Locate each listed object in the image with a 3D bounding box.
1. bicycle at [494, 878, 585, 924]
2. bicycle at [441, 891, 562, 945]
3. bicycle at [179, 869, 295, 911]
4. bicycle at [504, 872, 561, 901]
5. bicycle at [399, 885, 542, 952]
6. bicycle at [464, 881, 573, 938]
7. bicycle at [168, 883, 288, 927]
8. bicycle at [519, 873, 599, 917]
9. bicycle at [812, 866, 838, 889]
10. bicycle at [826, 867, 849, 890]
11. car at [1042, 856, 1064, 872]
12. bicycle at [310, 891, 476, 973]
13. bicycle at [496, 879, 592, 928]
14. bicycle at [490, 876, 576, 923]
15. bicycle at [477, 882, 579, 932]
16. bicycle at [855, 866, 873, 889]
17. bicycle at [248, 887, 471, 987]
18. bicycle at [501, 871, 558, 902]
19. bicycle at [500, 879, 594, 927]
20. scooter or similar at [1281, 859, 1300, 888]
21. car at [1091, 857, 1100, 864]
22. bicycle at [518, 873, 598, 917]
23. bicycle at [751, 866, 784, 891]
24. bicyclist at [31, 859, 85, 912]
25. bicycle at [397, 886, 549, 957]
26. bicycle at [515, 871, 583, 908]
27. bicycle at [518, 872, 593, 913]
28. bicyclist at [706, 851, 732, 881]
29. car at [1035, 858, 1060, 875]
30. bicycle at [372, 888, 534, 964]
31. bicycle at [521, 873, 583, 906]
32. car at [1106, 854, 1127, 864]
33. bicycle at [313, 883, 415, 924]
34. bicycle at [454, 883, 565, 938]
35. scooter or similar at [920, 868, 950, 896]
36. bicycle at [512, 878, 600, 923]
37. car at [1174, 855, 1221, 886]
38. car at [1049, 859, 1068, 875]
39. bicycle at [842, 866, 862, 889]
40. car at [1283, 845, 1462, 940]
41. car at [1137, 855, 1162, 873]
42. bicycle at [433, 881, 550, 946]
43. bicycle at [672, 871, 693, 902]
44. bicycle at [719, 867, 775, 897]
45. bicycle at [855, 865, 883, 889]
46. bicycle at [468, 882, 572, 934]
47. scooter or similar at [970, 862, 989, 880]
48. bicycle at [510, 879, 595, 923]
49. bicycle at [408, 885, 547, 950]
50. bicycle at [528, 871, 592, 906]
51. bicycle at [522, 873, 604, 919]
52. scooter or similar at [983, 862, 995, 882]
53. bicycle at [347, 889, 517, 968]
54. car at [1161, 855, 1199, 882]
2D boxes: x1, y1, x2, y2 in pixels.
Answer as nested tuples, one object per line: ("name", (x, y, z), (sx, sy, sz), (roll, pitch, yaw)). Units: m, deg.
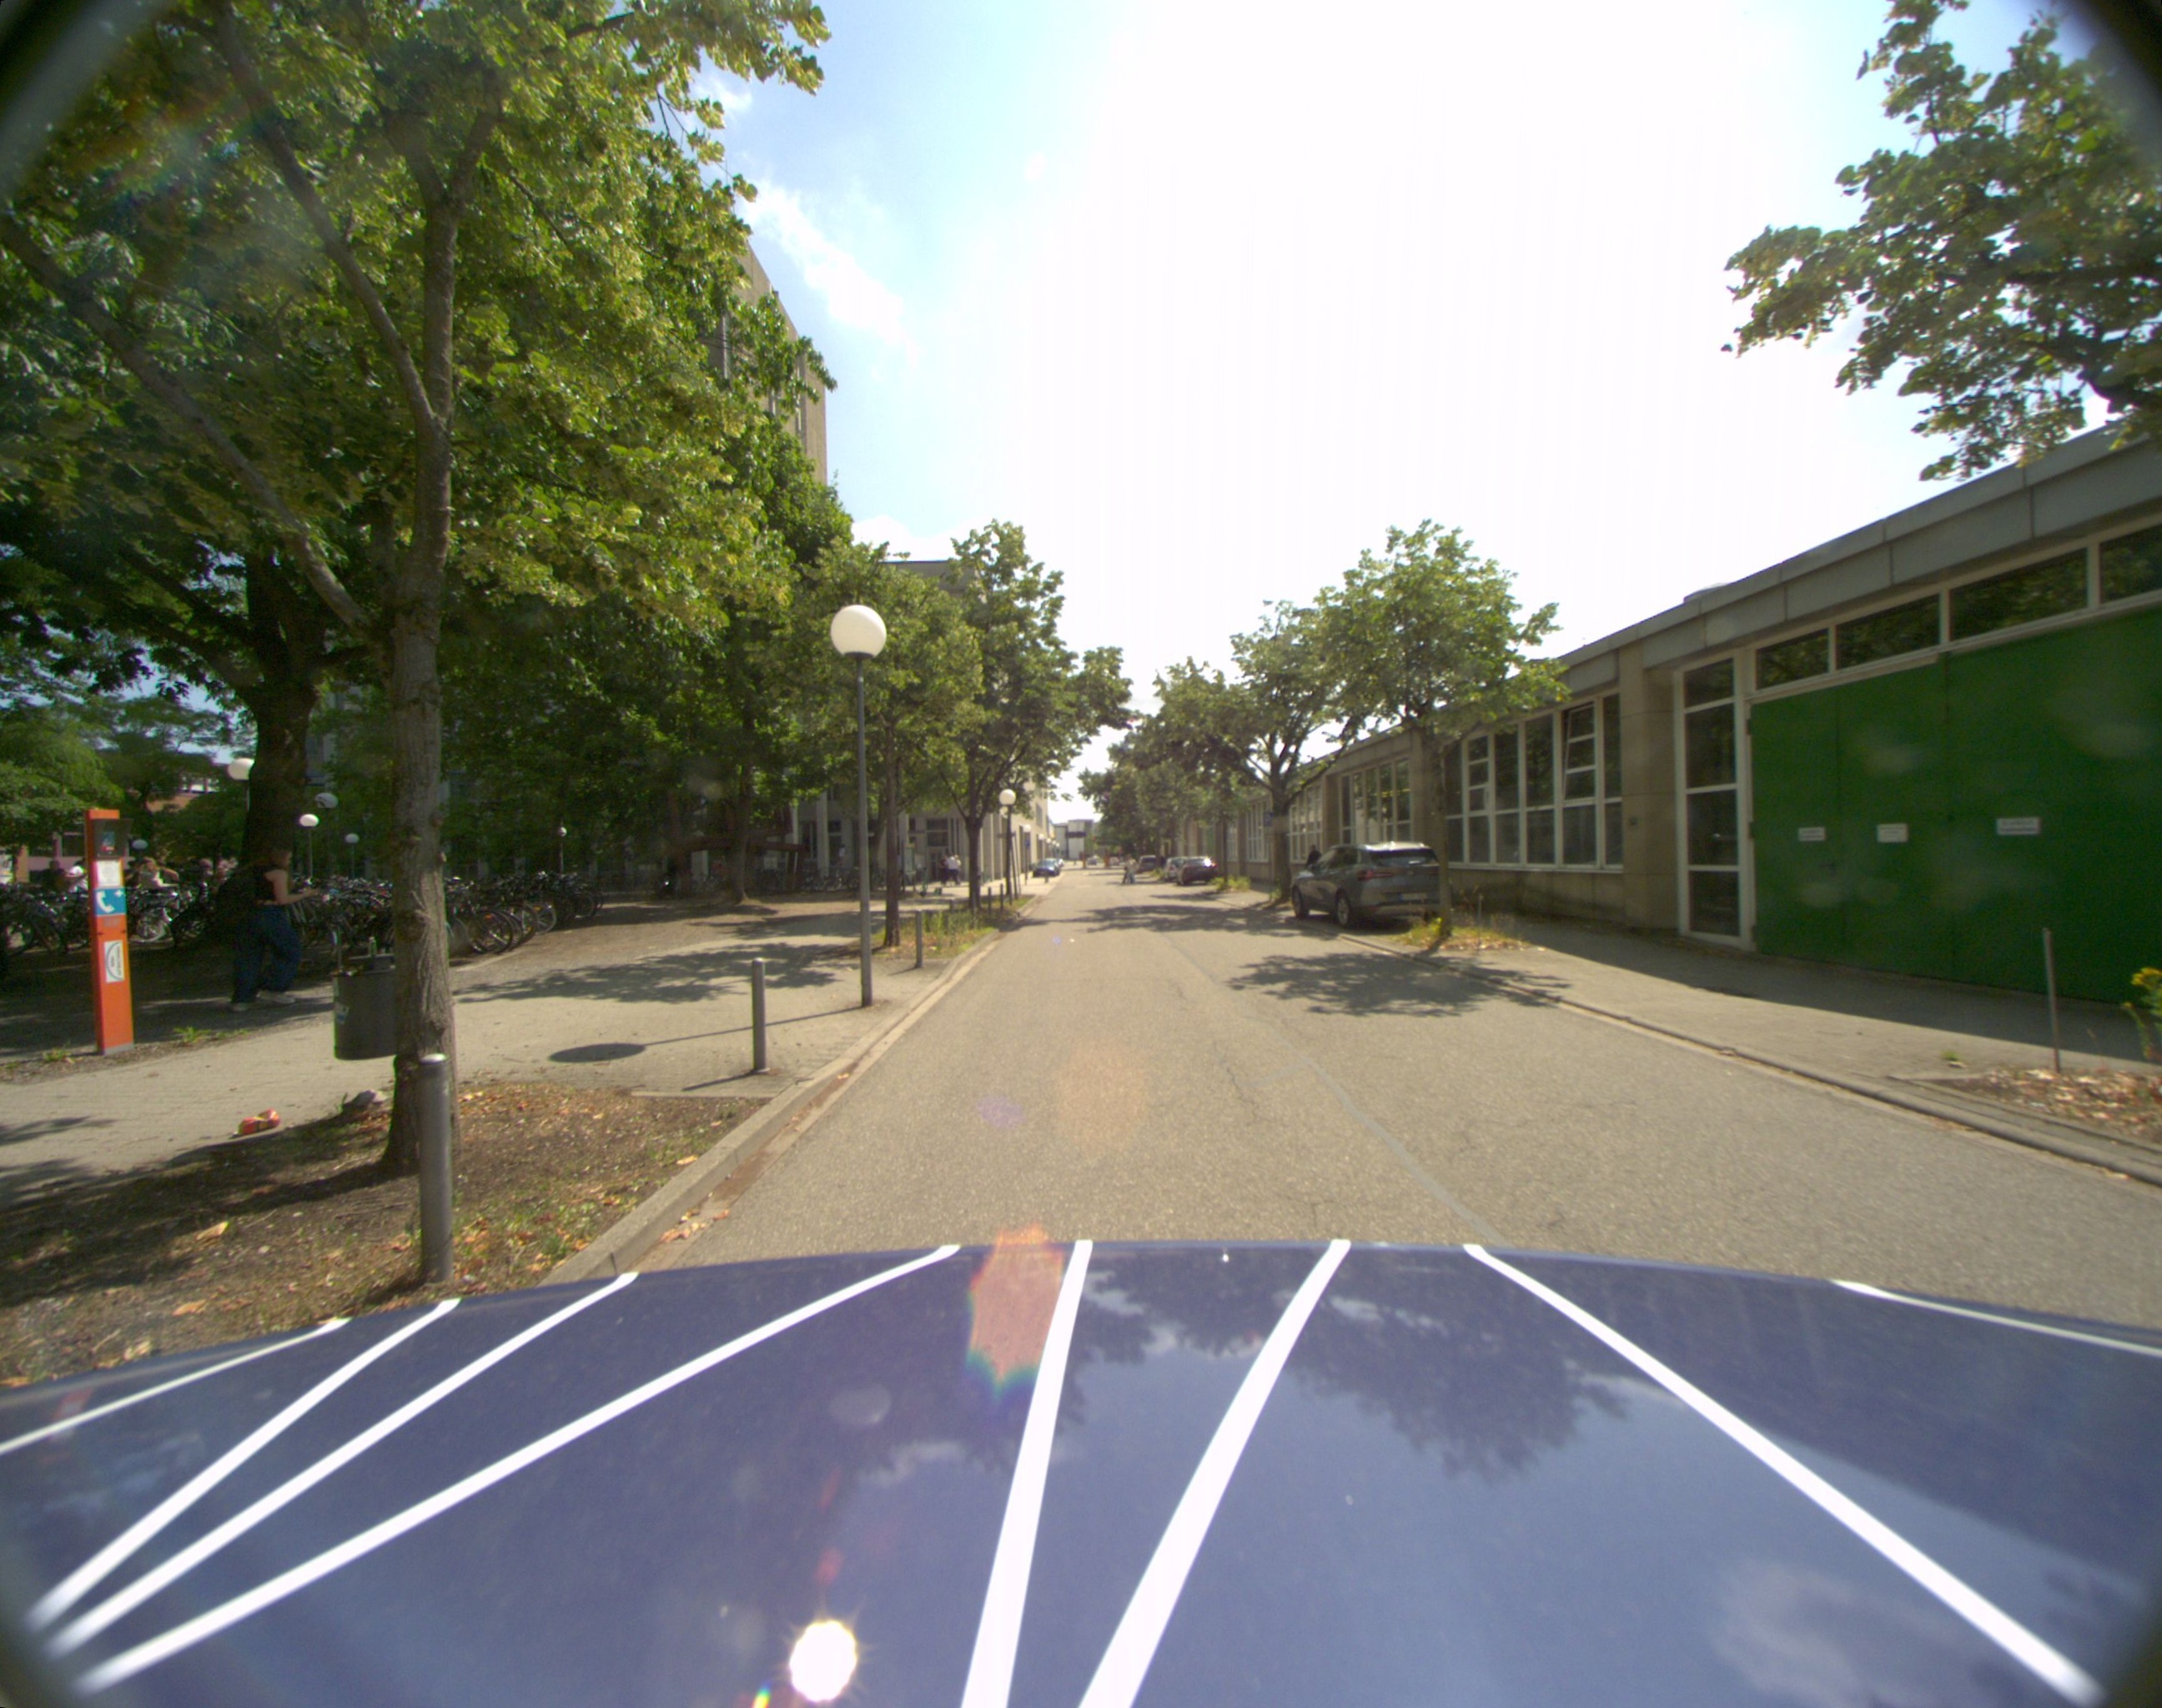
("bicycle", (-13.399, 1.153, 18.852), (1.796, 1.063, 0.425), (-1, 0, -28))
("bicycle", (-10.888, 1.180, 14.346), (1.741, 0.904, 0.493), (-1, 0, -29))
("bicycle", (-20.909, 0.872, 18.865), (1.907, 0.973, 0.378), (0, 1, -30))
("bicycle", (-22.558, 1.322, 31.255), (1.849, 1.163, 0.345), (-1, 0, -44))
("bicycle", (-10.598, 1.105, 13.250), (1.916, 1.053, 0.325), (-1, 0, -23))
("bicycle", (-11.408, 1.110, 15.468), (1.742, 1.046, 0.493), (-1, 0, -36))
("bicycle", (-20.702, 1.227, 18.486), (1.907, 0.973, 0.378), (0, 1, -30))
("bicycle", (-14.910, 1.149, 21.747), (1.848, 1.163, 0.344), (-1, 0, -34))
("bicycle", (-12.296, 1.119, 36.509), (0.481, 1.079, 1.697), (0, -1, 6))
("bicycle", (-11.802, 1.181, 36.791), (0.481, 1.079, 1.516), (0, -1, 6))
("car", (-2.498, 0.924, 68.421), (1.843, 1.389, 3.878), (0, -1, 1))
("bicycle", (-9.794, 1.094, 10.861), (1.773, 1.076, 0.438), (-1, 0, -11))
("bicycle", (-12.593, 1.154, 17.887), (1.796, 1.063, 0.425), (-1, 0, -30))
("bicycle", (-14.368, 1.178, 19.968), (1.796, 1.163, 0.401), (-1, 0, -34))
("bicycle", (-12.306, 1.170, 16.952), (1.796, 1.022, 0.381), (-1, 0, -31))
("bicycle", (-10.565, 1.132, 37.027), (0.460, 1.079, 1.440), (1, -1, -2))
("bicycle", (-9.186, 1.030, 9.751), (2.021, 1.160, 0.651), (-1, 0, -11))
("bicycle", (-22.414, 1.307, 30.909), (1.849, 1.163, 0.345), (-1, 0, -44))
("bicycle", (-12.802, 1.153, 18.273), (1.796, 1.063, 0.425), (-1, 0, -30))
("scooter or similar", (8.844, 0.814, 32.091), (0.383, 1.200, 1.246), (-3, 0, -1))
("car", (2.951, 1.367, 157.514), (1.803, 1.440, 3.676), (-4, 0, 0))
("bicycle", (-14.731, 1.126, 21.442), (1.848, 1.163, 0.344), (-1, 0, -34))
("bicycle", (-14.006, 1.105, 33.967), (0.463, 1.071, 1.829), (0, -1, 8))
("bicyclist", (-28.450, 0.853, 21.136), (0.746, 1.438, 0.801), (-1, 0, -43))
("bicycle", (-9.877, 1.081, 12.387), (1.950, 1.076, 0.404), (-1, 0, -11))
("bicycle", (-17.775, 1.187, 25.415), (1.849, 1.163, 0.352), (-1, 0, -36))
("bicycle", (-15.971, 1.146, 23.106), (1.849, 1.163, 0.344), (-1, 0, -37))
("bicyclist", (-19.561, 0.658, 41.087), (0.958, 1.533, 0.839), (1, -2, 3))
("car", (-2.751, 1.046, 62.719), (1.843, 1.389, 3.878), (0, -1, 1))
("bicycle", (-9.646, 1.091, 11.714), (1.950, 1.076, 0.404), (-1, 0, -11))
("bicycle", (-19.825, 1.325, 28.502), (1.849, 1.163, 0.412), (-1, 0, -39))
("car", (6.385, 0.867, 137.269), (3.674, 1.440, 1.804), (-4, 0, -1))
("bicycle", (-18.805, 1.284, 19.963), (1.907, 0.973, 0.378), (0, 1, -30))
("bicycle", (-11.813, 1.150, 15.772), (1.800, 1.022, 0.439), (-1, 0, -32))
("scooter or similar", (-5.894, 1.123, 30.676), (0.496, 1.107, 1.365), (-1, -1, 25))
("bicycle", (-13.342, 1.162, 19.349), (1.796, 1.063, 0.425), (-1, 0, -28))
("car", (5.998, 0.833, 39.531), (1.729, 1.427, 4.290), (-3, -1, 0))
("car", (-2.439, 1.428, 83.291), (1.799, 1.691, 4.001), (2, -1, 1))
("bicycle", (-11.056, 1.130, 36.664), (0.460, 1.079, 1.474), (0, -1, 2))
("car", (5.848, 0.686, 15.924), (1.826, 1.623, 4.516), (-3, 0, -2))
("car", (6.054, 0.844, 67.291), (1.803, 1.440, 3.676), (-4, 0, 0))
("bicycle", (-11.328, 1.119, 14.671), (1.742, 1.148, 0.493), (-1, 0, -36))
("bicycle", (-15.505, 1.244, 29.562), (0.476, 1.103, 1.665), (-2, 2, -36))
("bicycle", (-13.310, 1.117, 30.325), (1.928, 1.103, 0.631), (-2, 2, -36))
("bicycle", (-10.129, 1.110, 36.402), (0.491, 1.134, 1.529), (0, -1, 20))
("bicycle", (-12.205, 1.161, 16.595), (1.796, 1.022, 0.381), (-1, 0, -32))
("scooter or similar", (-7.281, 1.186, 54.408), (0.566, 1.205, 1.506), (-3, 3, -40))
("bicycle", (-13.764, 1.200, 19.820), (1.796, 1.063, 0.425), (-1, 0, -35))
("bicycle", (-10.706, 1.106, 13.540), (1.916, 1.053, 0.325), (-1, 0, -23))
("bicycle", (-18.504, 1.200, 27.012), (1.849, 1.163, 0.387), (-1, 0, -39))
("bicycle", (-14.057, 1.123, 20.661), (1.796, 1.163, 0.401), (-1, 0, -34))
("scooter or similar", (-5.635, 1.102, 46.652), (0.564, 1.204, 1.510), (1, 0, -1))
("bicycle", (-9.597, 1.087, 11.284), (1.950, 1.076, 0.404), (-1, 0, -11))
("car", (5.860, 0.830, 45.199), (1.634, 1.440, 3.752), (-4, 0, 0))
